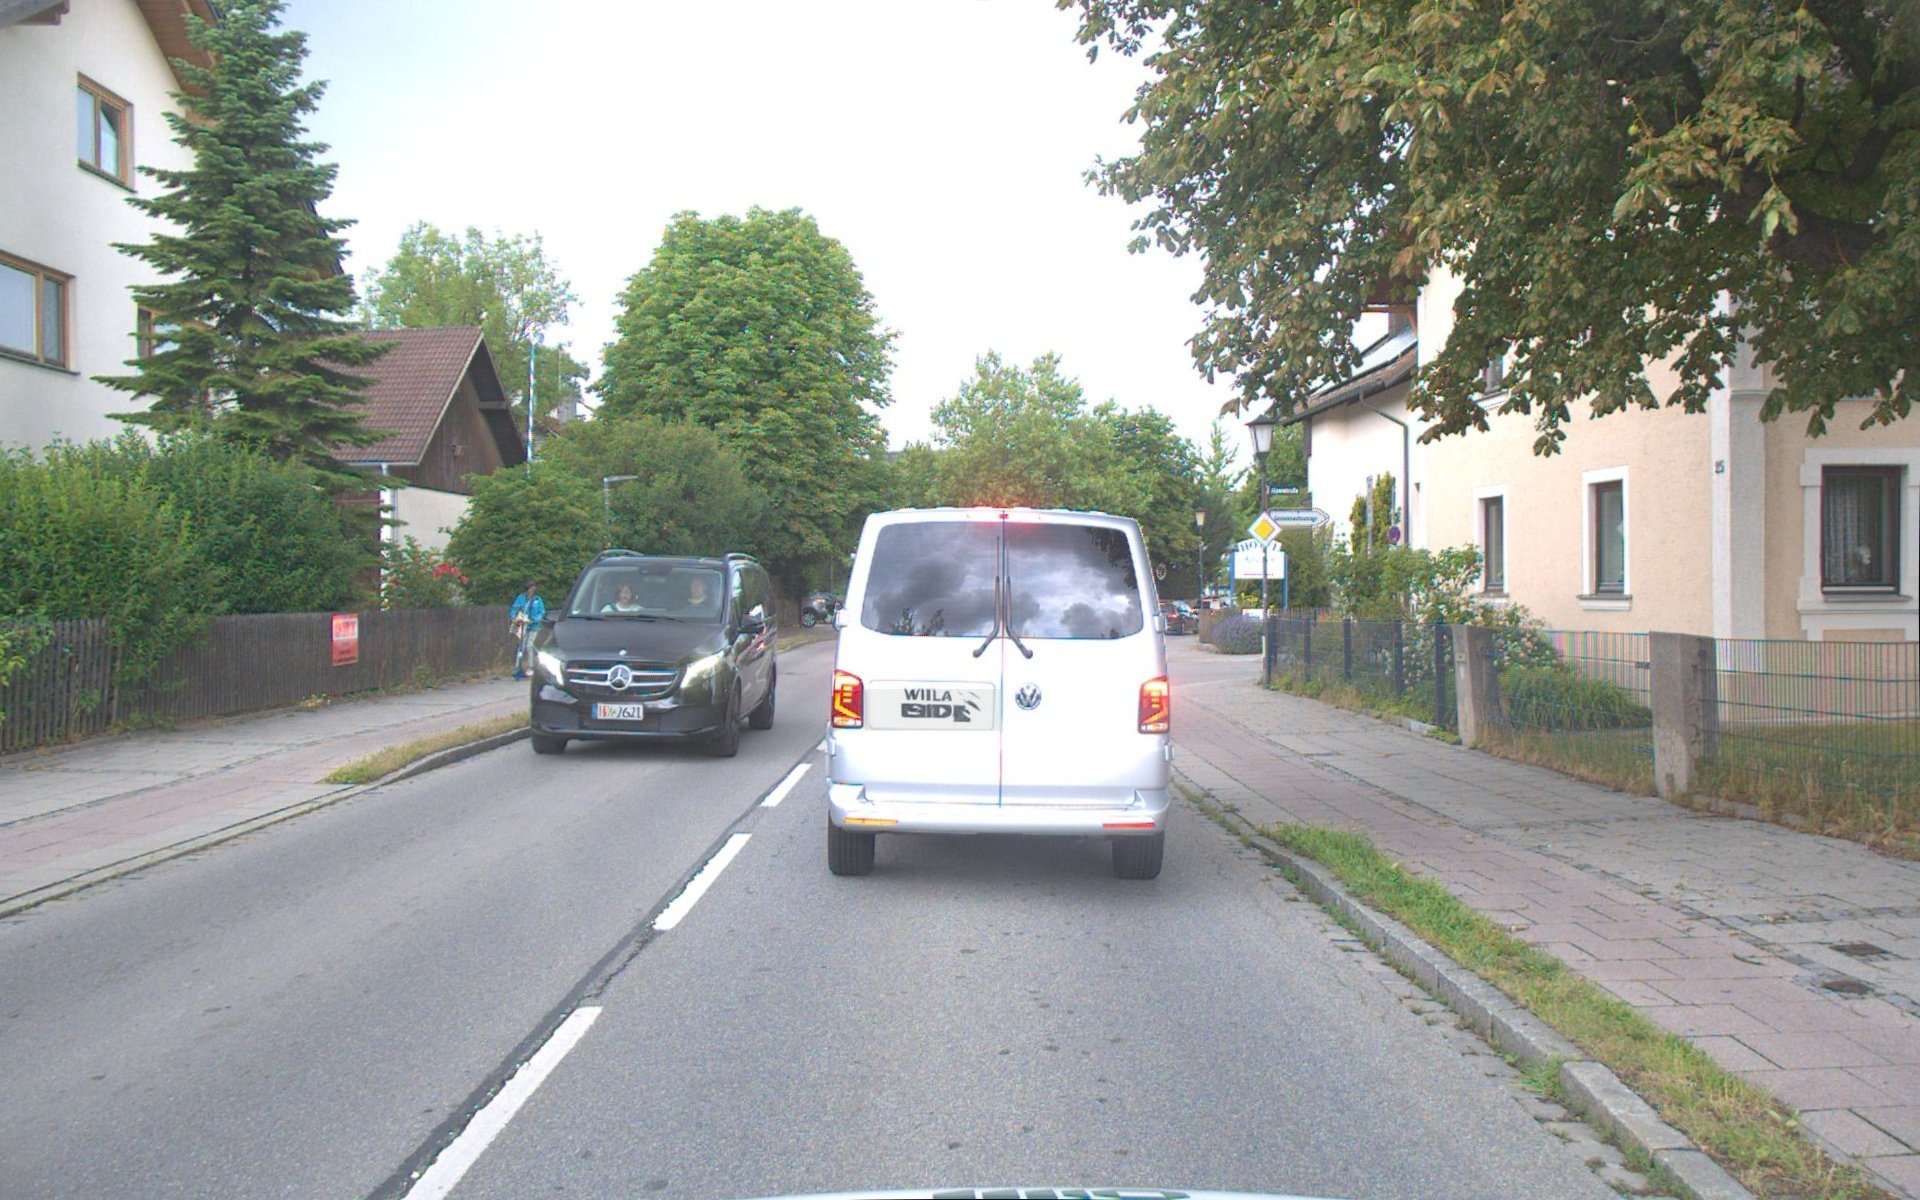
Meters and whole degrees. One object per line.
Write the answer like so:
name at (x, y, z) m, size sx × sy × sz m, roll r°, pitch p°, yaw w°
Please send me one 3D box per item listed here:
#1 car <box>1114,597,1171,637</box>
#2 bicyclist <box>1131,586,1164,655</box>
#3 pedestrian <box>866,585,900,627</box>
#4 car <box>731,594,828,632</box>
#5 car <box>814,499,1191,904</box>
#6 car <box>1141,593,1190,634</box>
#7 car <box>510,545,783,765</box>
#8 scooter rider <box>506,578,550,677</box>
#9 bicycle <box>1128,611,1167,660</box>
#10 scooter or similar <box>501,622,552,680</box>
car at (7.374, 0.665, 66.508) m, size 1.841 × 1.562 × 3.924 m, roll 0°, pitch 0°, yaw 13°
bicyclist at (4.608, 0.503, 40.629) m, size 0.721 × 1.661 × 0.890 m, roll 0°, pitch 0°, yaw 1°
pedestrian at (-3.414, 0.258, 73.017) m, size 1.298 × 1.834 × 1.064 m, roll 0°, pitch 0°, yaw -18°
car at (-7.480, 0.516, 68.234) m, size 3.913 × 1.512 × 1.996 m, roll 0°, pitch 0°, yaw -9°
car at (0.218, 0.490, 10.040) m, size 1.842 × 1.974 × 3.920 m, roll 0°, pitch 0°, yaw 0°
car at (9.157, 0.594, 73.561) m, size 1.841 × 1.779 × 4.084 m, roll 0°, pitch 0°, yaw 12°
car at (-3.016, 0.481, 17.014) m, size 1.925 × 1.885 × 4.946 m, roll 1°, pitch 0°, yaw -1°
scooter rider at (-6.748, 0.422, 25.831) m, size 0.492 × 1.515 × 0.716 m, roll 0°, pitch 0°, yaw -1°
bicycle at (4.589, 0.859, 40.502) m, size 0.749 × 1.163 × 1.845 m, roll 0°, pitch 0°, yaw 0°
scooter or similar at (-6.759, 0.791, 25.836) m, size 0.511 × 0.865 × 1.061 m, roll 0°, pitch 0°, yaw 0°
